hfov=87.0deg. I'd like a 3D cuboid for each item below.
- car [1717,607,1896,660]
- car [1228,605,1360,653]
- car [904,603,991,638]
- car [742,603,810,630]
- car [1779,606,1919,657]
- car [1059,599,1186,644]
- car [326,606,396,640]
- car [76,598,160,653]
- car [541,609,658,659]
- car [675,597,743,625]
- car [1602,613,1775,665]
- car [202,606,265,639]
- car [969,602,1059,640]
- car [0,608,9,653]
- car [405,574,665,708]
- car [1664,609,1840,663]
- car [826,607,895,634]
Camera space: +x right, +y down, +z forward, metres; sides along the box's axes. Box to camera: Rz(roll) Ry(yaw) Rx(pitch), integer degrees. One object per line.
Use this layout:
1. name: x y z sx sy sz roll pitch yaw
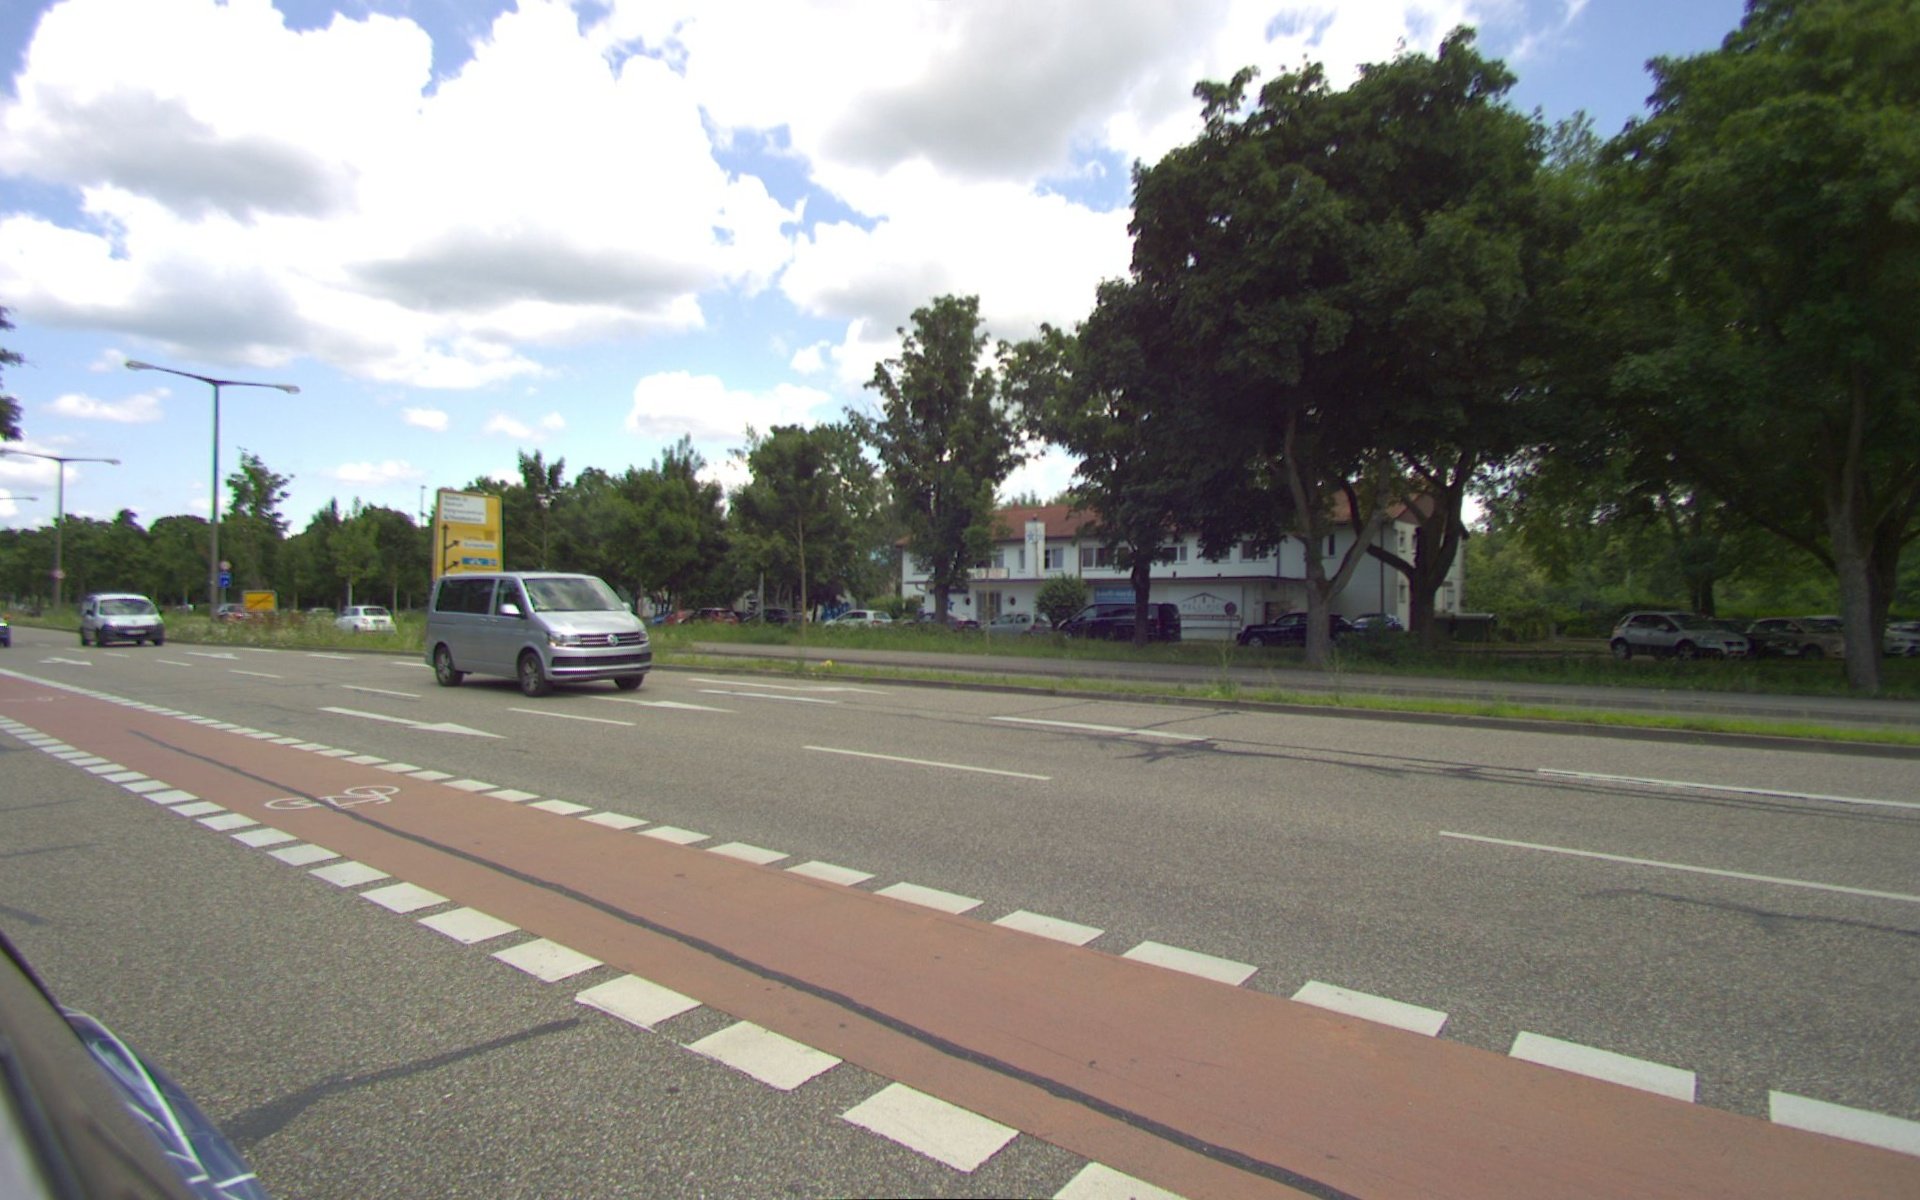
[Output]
1. car: 27.210 1.117 32.723 1.967 1.600 4.033 1 -3 -13
2. car: 12.281 1.014 37.278 4.348 1.670 1.794 0 0 31
3. car: -0.640 0.963 47.910 4.022 1.600 1.739 -1 -2 42
4. car: -10.169 0.913 55.851 3.865 1.422 1.707 -1 -2 42
5. car: 29.641 1.011 33.141 1.967 1.557 4.033 1 -1 -13
6. car: 6.572 0.859 41.334 4.928 1.724 1.862 -1 -2 42
7. car: -27.148 1.009 45.862 3.589 1.456 1.595 0 0 39
8. car: -28.850 0.828 34.636 4.156 1.799 1.723 0 0 43
9. car: -12.014 1.081 33.650 3.995 1.523 1.869 0 0 39
10. car: -14.926 0.650 60.092 4.022 1.600 1.972 -1 -2 42
11. car: 22.417 1.167 31.360 1.967 1.495 4.033 1 -1 -13
12. car: -36.527 1.123 50.868 1.970 1.630 4.003 2 -2 -44
13. car: 2.409 0.932 45.315 3.665 1.600 1.896 -1 -2 42
14. car: -33.348 1.006 34.067 3.702 1.475 1.583 0 -2 42
15. car: -7.275 0.618 17.025 5.227 1.933 1.795 0 -2 40
16. car: 24.916 1.103 32.042 1.967 1.600 4.033 1 -1 -13
17. car: -5.087 1.053 51.484 3.475 1.342 1.604 -1 -2 42
